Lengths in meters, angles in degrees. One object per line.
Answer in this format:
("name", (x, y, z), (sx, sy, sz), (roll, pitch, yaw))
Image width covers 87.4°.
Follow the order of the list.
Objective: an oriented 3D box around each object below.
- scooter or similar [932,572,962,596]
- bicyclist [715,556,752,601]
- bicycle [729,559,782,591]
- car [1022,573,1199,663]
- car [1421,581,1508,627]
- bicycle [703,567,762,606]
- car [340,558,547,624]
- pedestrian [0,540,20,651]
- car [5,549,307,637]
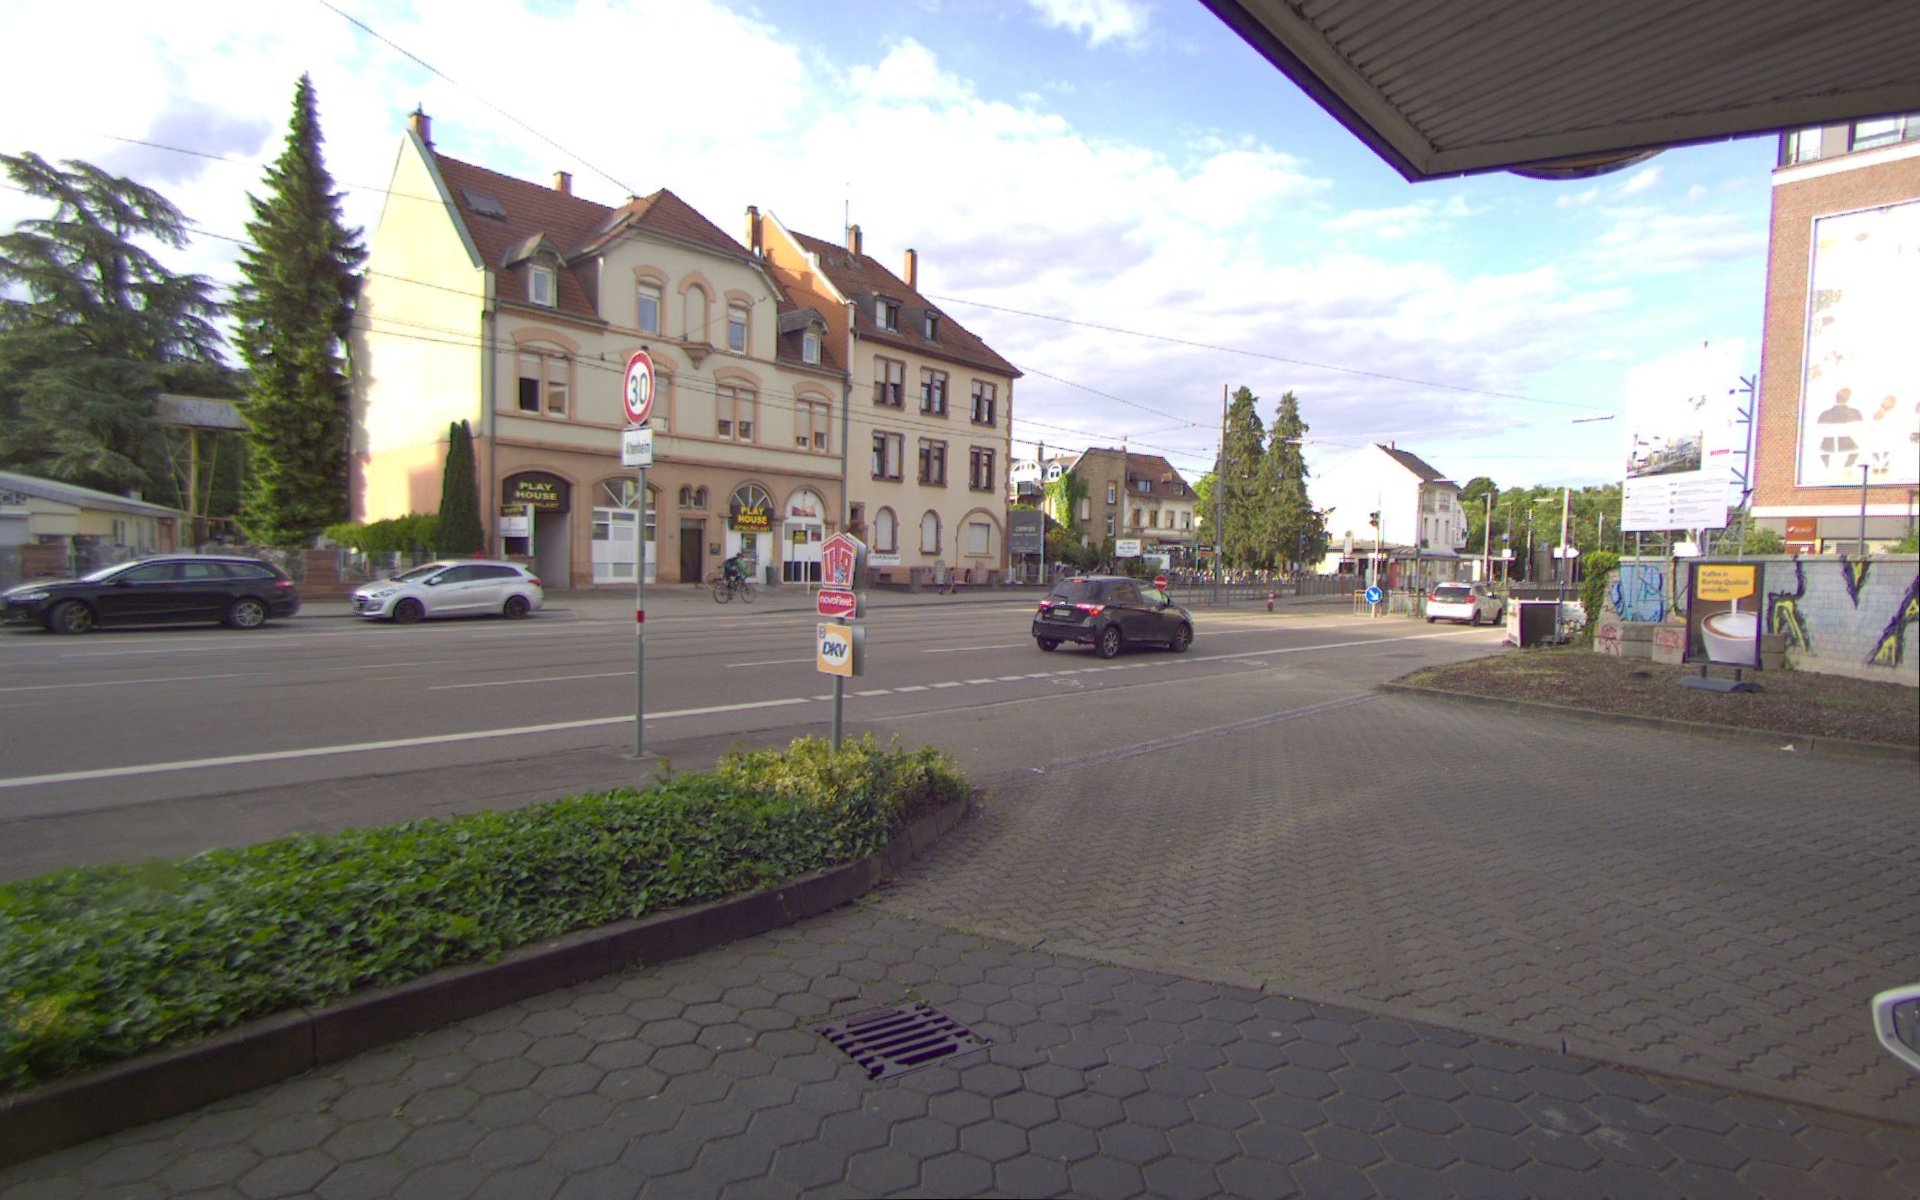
("scooter or similar", (-0.566, -0.715, 45.094), (0.437, 1.006, 1.460), (6, 5, 41))
("bicyclist", (-7.619, -0.736, 33.841), (0.741, 1.428, 0.916), (8, 6, 40))
("bicycle", (-8.247, -1.000, 40.627), (0.741, 1.219, 2.011), (8, 5, 41))
("car", (3.077, 0.288, 20.090), (1.649, 1.568, 3.687), (5, 4, 43))
("car", (17.452, 0.089, 34.681), (1.649, 1.419, 3.687), (5, 4, 43))
("bicycle", (-7.656, -0.460, 33.822), (0.741, 1.219, 1.812), (8, 6, 40))
("car", (-12.926, -0.249, 25.356), (1.718, 1.502, 4.357), (3, 2, 41))
("pedestrian", (-15.392, -0.079, 15.672), (0.910, 1.723, 0.906), (3, 3, 37))
("car", (-16.483, -0.172, 20.816), (1.827, 1.542, 4.642), (5, 4, 40))
